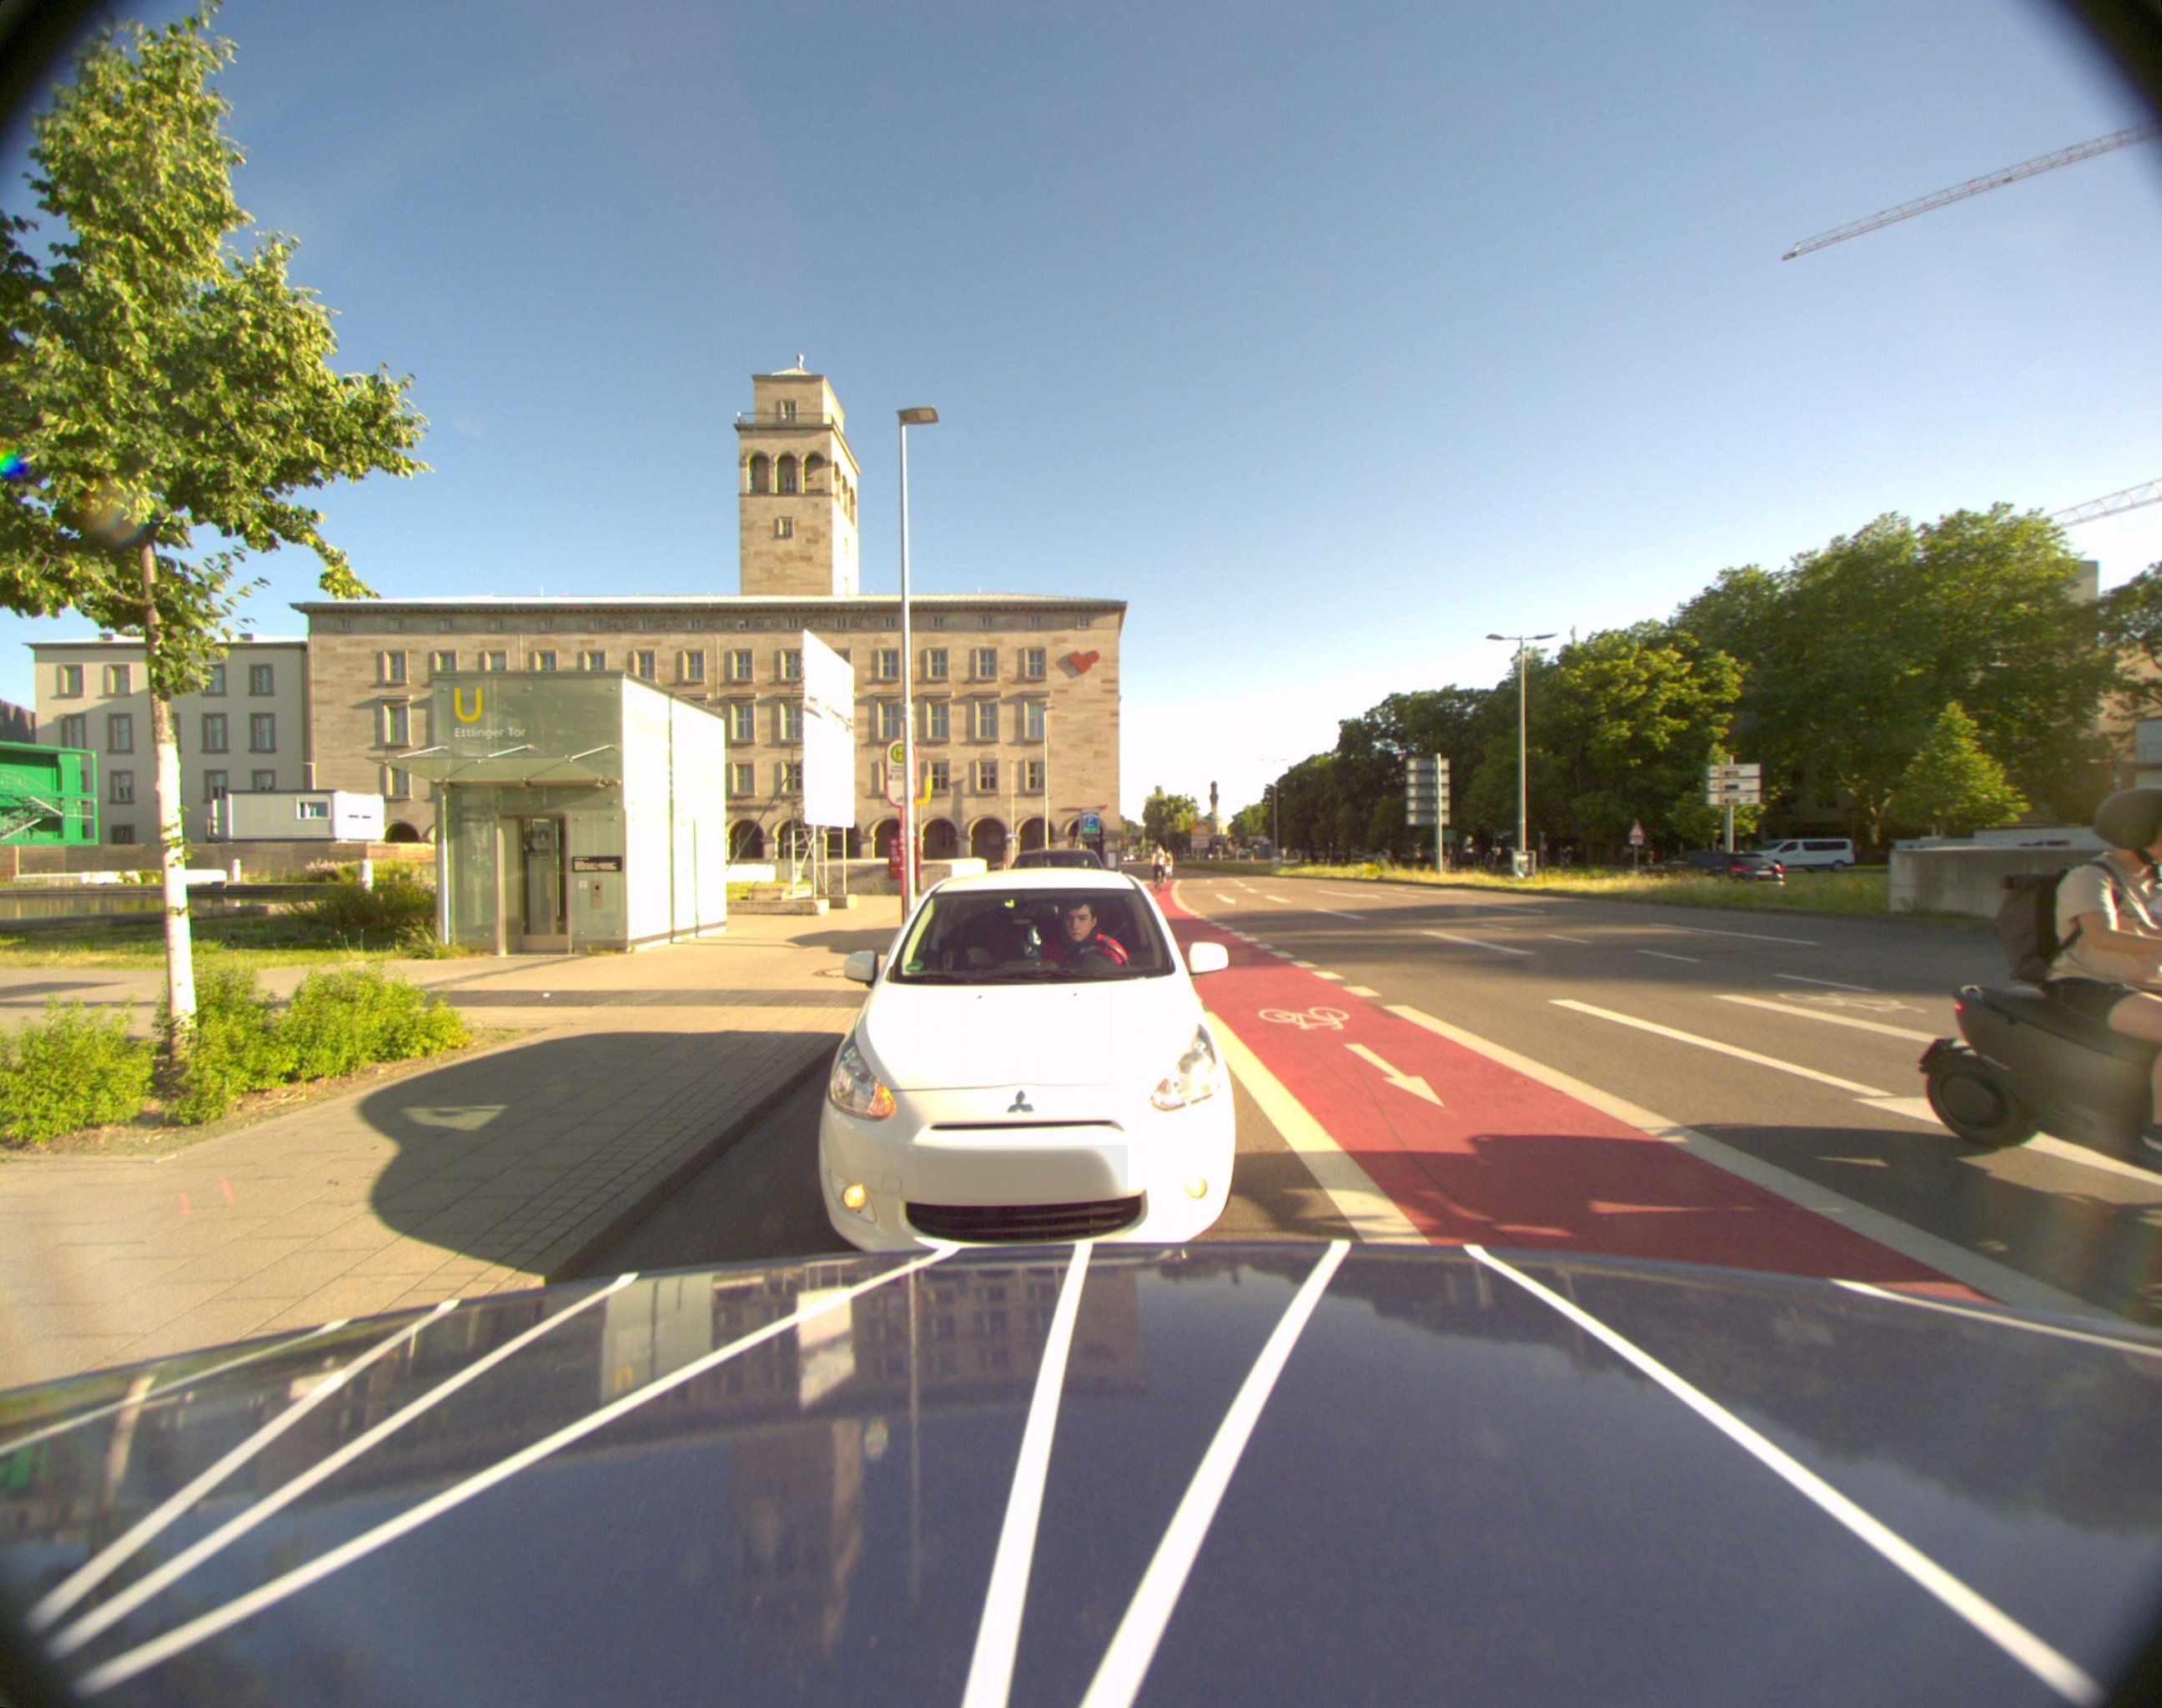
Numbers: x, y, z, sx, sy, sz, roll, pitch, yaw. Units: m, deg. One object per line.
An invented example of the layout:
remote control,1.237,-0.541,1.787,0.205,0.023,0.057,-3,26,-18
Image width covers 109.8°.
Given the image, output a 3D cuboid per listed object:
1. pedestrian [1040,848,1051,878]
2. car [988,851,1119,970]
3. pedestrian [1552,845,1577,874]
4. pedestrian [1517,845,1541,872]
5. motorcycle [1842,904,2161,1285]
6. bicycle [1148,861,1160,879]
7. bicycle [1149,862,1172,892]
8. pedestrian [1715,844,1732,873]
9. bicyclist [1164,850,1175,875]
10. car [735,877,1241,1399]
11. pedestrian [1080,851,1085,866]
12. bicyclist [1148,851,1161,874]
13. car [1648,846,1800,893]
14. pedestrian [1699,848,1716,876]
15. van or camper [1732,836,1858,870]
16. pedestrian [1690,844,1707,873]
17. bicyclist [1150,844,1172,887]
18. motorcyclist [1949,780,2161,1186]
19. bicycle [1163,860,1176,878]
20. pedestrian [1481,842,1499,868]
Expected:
pedestrian,-2.040,0.500,43.840,0.552,1.692,0.553,-1,1,-1
car,-0.362,0.797,12.787,1.833,1.660,4.000,-1,0,1
pedestrian,32.967,0.377,51.780,1.126,1.952,0.815,-2,1,1
pedestrian,32.731,0.323,55.511,0.951,1.952,1.058,-2,1,-14
motorcycle,4.274,0.900,2.889,0.828,1.273,1.944,-1,0,1
bicycle,4.940,1.053,51.432,0.689,1.185,1.506,-1,1,1
bicycle,3.193,0.923,30.697,0.741,1.140,1.890,-1,0,1
pedestrian,34.001,0.224,40.231,0.499,1.502,0.494,-1,1,1
bicyclist,5.910,0.539,50.742,0.674,1.649,0.877,-1,1,1
car,-0.254,0.928,4.307,1.519,1.447,4.000,-1,0,1
pedestrian,0.210,0.639,103.702,0.612,2.002,0.727,-2,1,0
bicyclist,4.963,0.574,51.320,0.823,1.568,0.877,-1,1,1
car,21.799,0.480,26.006,1.881,1.472,3.980,-1,0,1
pedestrian,33.238,0.432,40.311,0.499,1.502,0.494,-1,1,1
van or camper,42.239,-0.044,45.062,5.499,1.934,1.951,-1,0,4
pedestrian,32.475,0.243,39.942,0.499,1.502,0.494,-1,1,1
bicyclist,3.208,0.442,30.612,0.807,1.690,0.852,-1,1,1
motorcyclist,4.284,0.456,2.948,0.823,1.455,0.877,-1,1,1
bicycle,5.902,1.005,50.722,0.689,1.185,1.506,-1,1,1
pedestrian,32.582,0.094,60.510,0.841,2.002,0.955,-3,1,-25
